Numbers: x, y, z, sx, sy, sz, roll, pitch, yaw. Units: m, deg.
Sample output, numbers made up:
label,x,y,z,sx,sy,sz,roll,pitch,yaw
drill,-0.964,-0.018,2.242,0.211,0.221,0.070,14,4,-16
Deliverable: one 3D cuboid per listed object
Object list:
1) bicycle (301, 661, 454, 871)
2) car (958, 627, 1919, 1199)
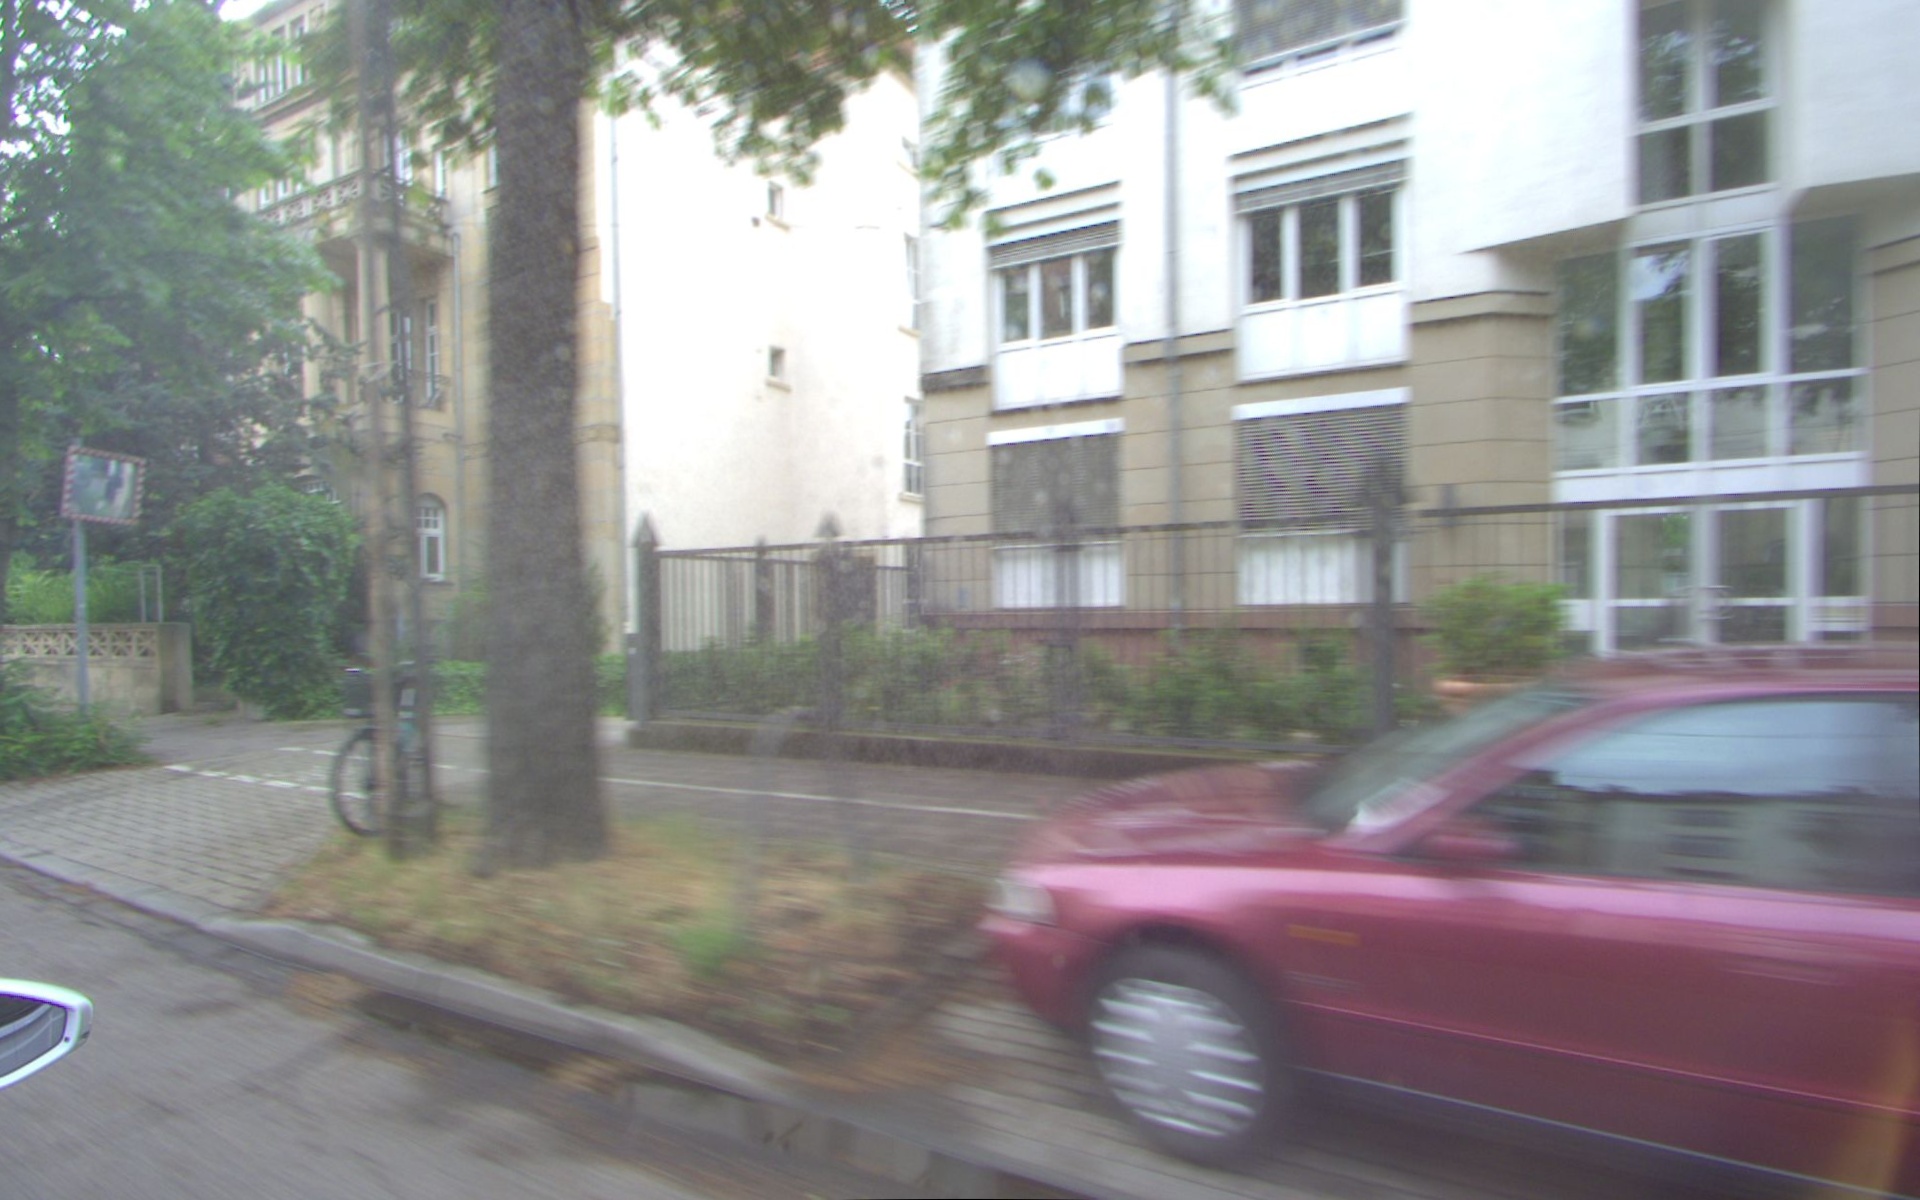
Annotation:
label,x,y,z,sx,sy,sz,roll,pitch,yaw
bicycle,-4.010,1.063,7.025,0.425,1.213,1.902,-1,-2,-15
car,2.200,0.825,2.833,4.164,1.418,1.599,-1,2,30
